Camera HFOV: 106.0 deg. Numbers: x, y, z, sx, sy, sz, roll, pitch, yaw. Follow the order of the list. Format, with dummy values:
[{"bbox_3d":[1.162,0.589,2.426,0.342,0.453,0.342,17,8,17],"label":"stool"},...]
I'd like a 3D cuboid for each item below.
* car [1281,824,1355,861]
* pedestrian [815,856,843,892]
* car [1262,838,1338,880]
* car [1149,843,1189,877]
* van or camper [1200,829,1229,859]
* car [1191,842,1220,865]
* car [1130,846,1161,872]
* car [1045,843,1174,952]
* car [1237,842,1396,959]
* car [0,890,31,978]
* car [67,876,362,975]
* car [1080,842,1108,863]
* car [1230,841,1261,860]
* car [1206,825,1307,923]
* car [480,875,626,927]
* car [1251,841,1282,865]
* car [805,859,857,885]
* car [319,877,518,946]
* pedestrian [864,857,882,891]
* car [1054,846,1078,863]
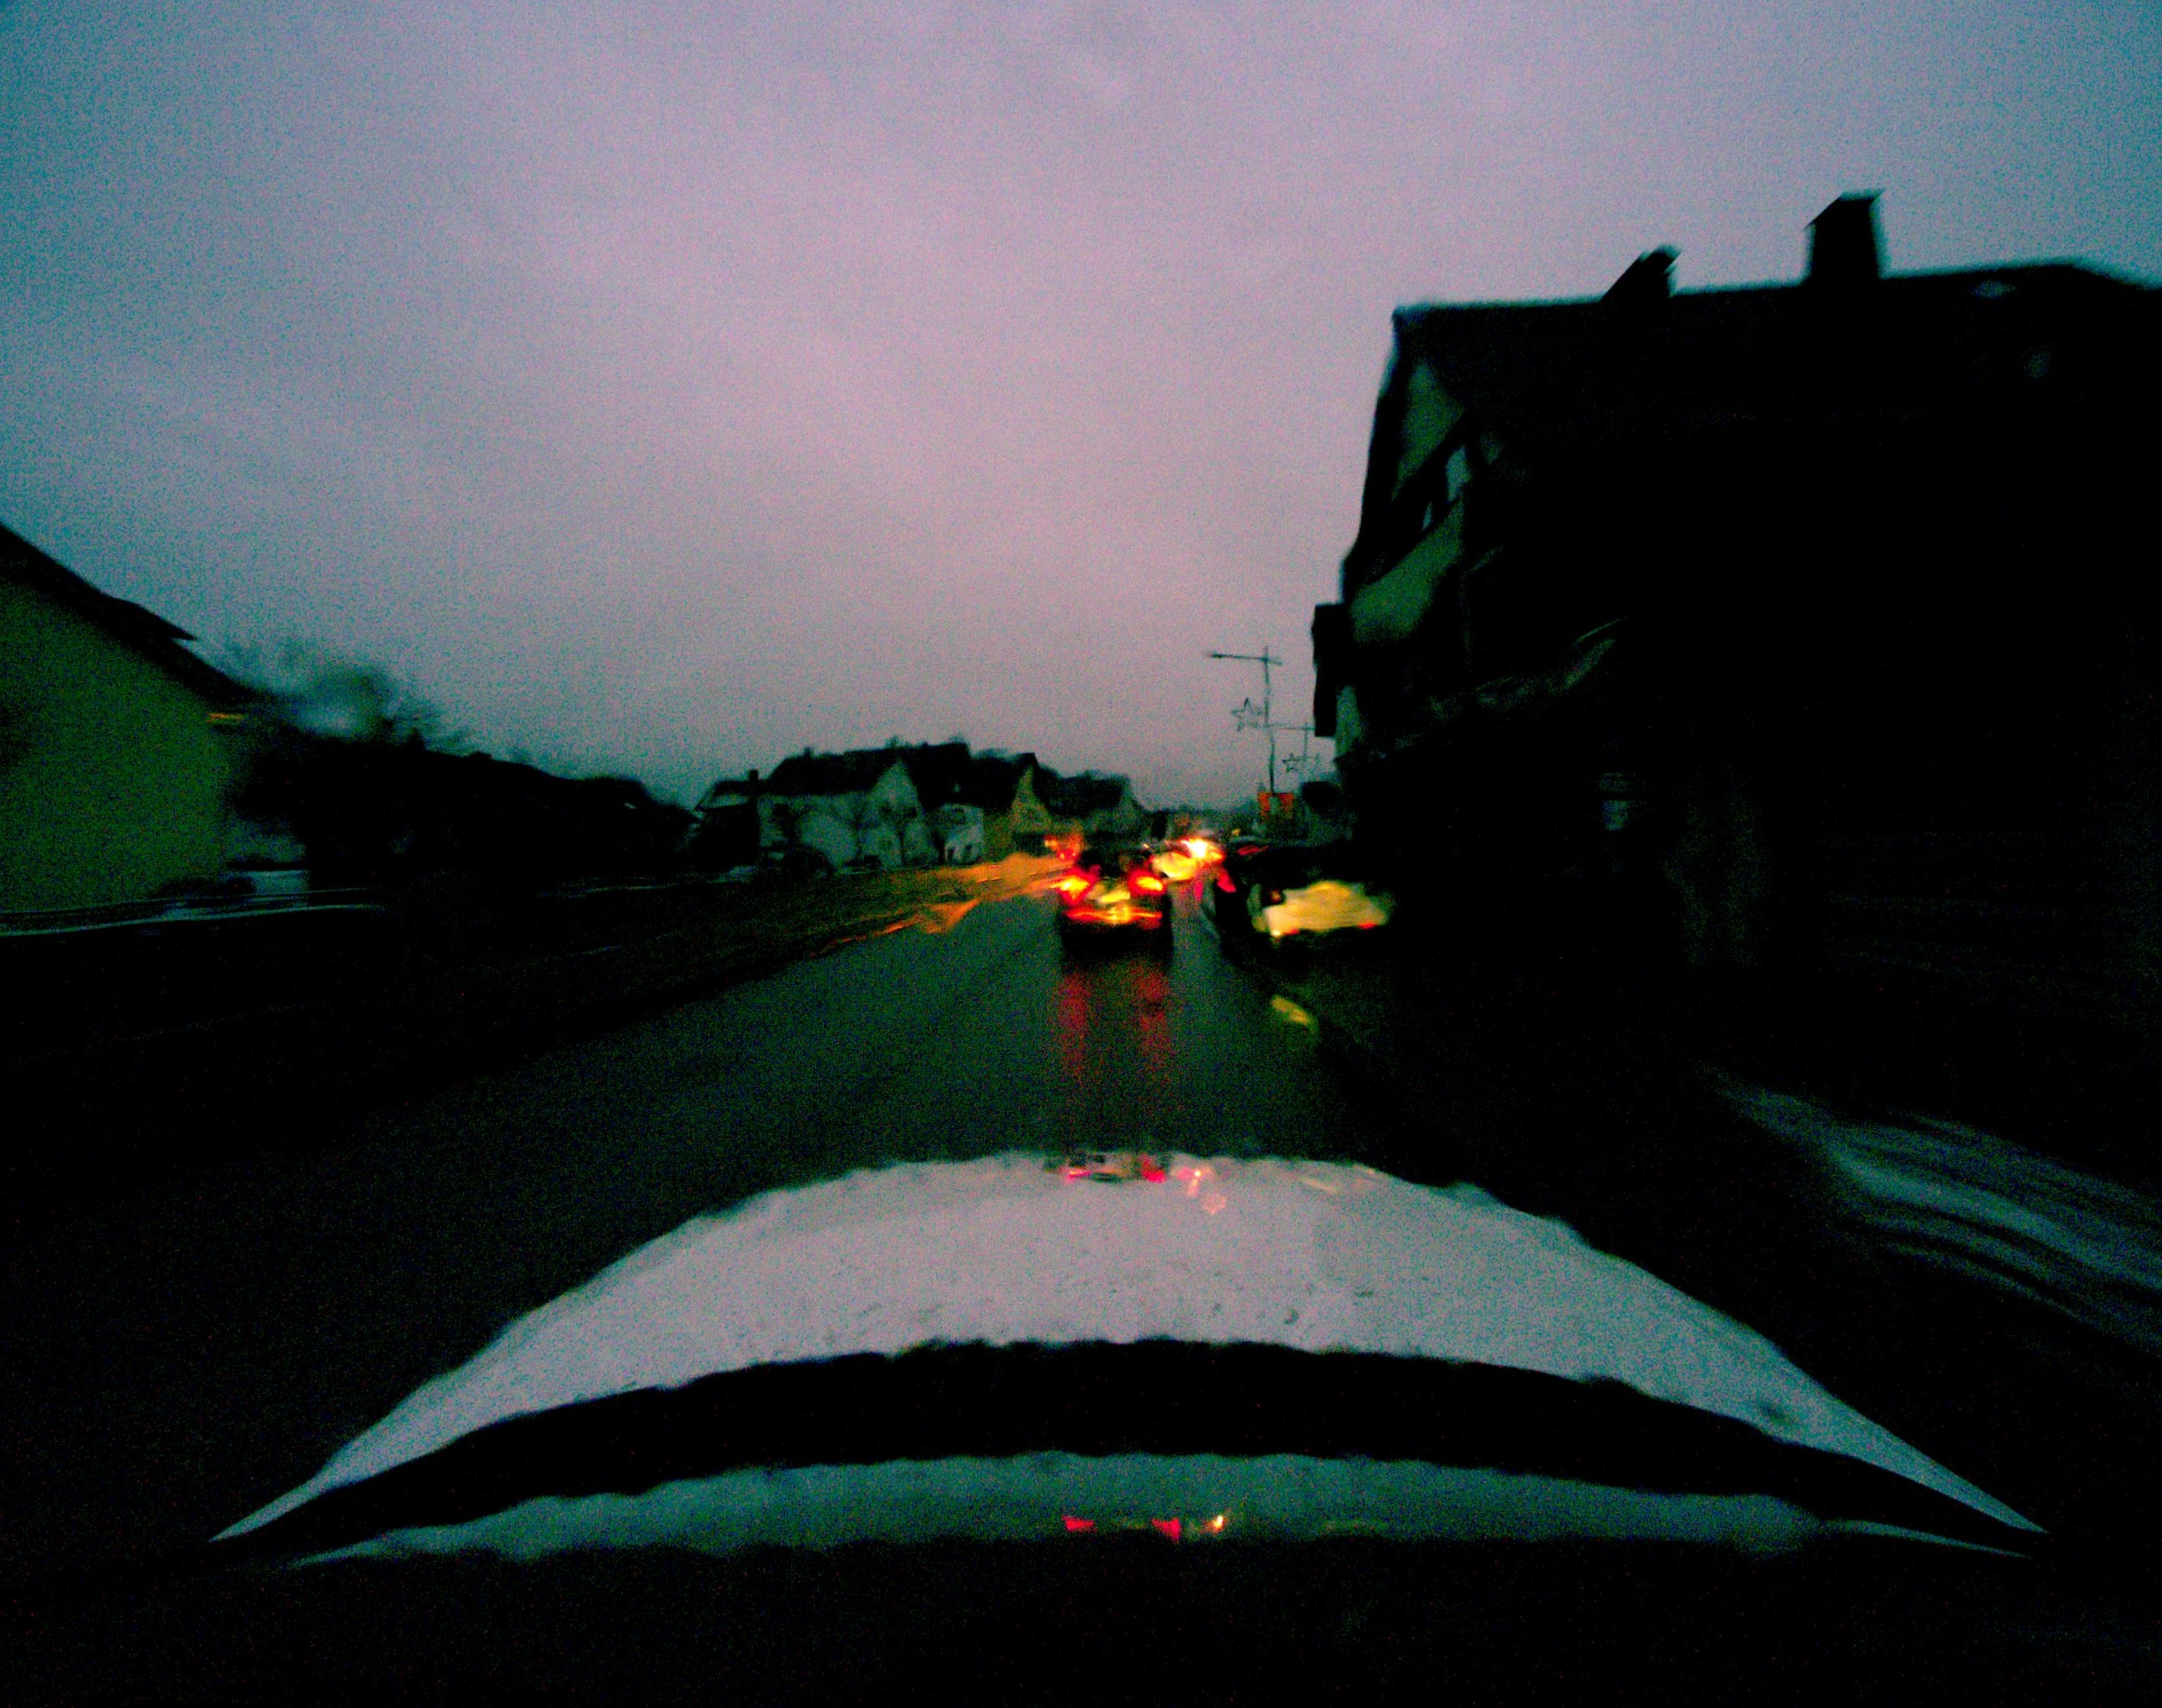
[{"bbox_3d":[14.834,-0.747,51.129,4.150,1.639,1.809,-9,-1,10],"label":"car"},{"bbox_3d":[-12.727,0.988,41.086,0.921,1.784,0.977,-1,0,14],"label":"pedestrian"},{"bbox_3d":[8.437,0.170,31.651,1.760,1.393,3.912,-4,0,-1],"label":"car"},{"bbox_3d":[4.004,0.277,37.376,1.674,1.453,4.006,-2,0,5],"label":"car"},{"bbox_3d":[13.173,-1.021,80.271,2.225,2.669,6.580,-3,1,13],"label":"van or camper"},{"bbox_3d":[8.274,-0.051,54.192,1.803,1.412,4.011,-1,1,9],"label":"car"},{"bbox_3d":[4.302,0.294,53.818,1.652,1.635,3.562,-2,0,11],"label":"car"},{"bbox_3d":[0.444,0.645,14.735,1.958,1.594,4.313,-1,1,0],"label":"car"},{"bbox_3d":[3.358,0.600,12.105,1.638,1.415,2.730,-5,0,4],"label":"car"},{"bbox_3d":[-21.027,1.584,13.347,1.865,1.598,4.232,-4,1,6],"label":"car"},{"bbox_3d":[-20.294,1.573,19.438,1.865,1.778,4.509,-4,1,6],"label":"car"},{"bbox_3d":[1.252,-0.195,80.571,2.037,1.925,4.045,-3,1,-9],"label":"car"},{"bbox_3d":[13.513,-0.308,66.686,1.977,1.391,4.020,-2,1,18],"label":"car"},{"bbox_3d":[3.730,0.372,17.912,1.759,1.782,4.010,-5,0,8],"label":"car"},{"bbox_3d":[-18.959,1.632,29.544,1.863,1.433,4.511,-4,1,8],"label":"car"},{"bbox_3d":[17.698,-0.110,77.576,2.140,1.991,4.522,-6,-1,19],"label":"car"},{"bbox_3d":[-15.210,1.097,49.688,1.472,1.427,3.471,-2,0,12],"label":"car"},{"bbox_3d":[-19.753,1.648,24.605,1.863,1.572,4.511,-4,1,8],"label":"car"},{"bbox_3d":[-10.351,1.001,40.602,0.658,1.697,0.543,-1,0,14],"label":"pedestrian"},{"bbox_3d":[-1.554,0.054,81.265,1.821,1.613,4.045,-3,1,-9],"label":"car"}]
